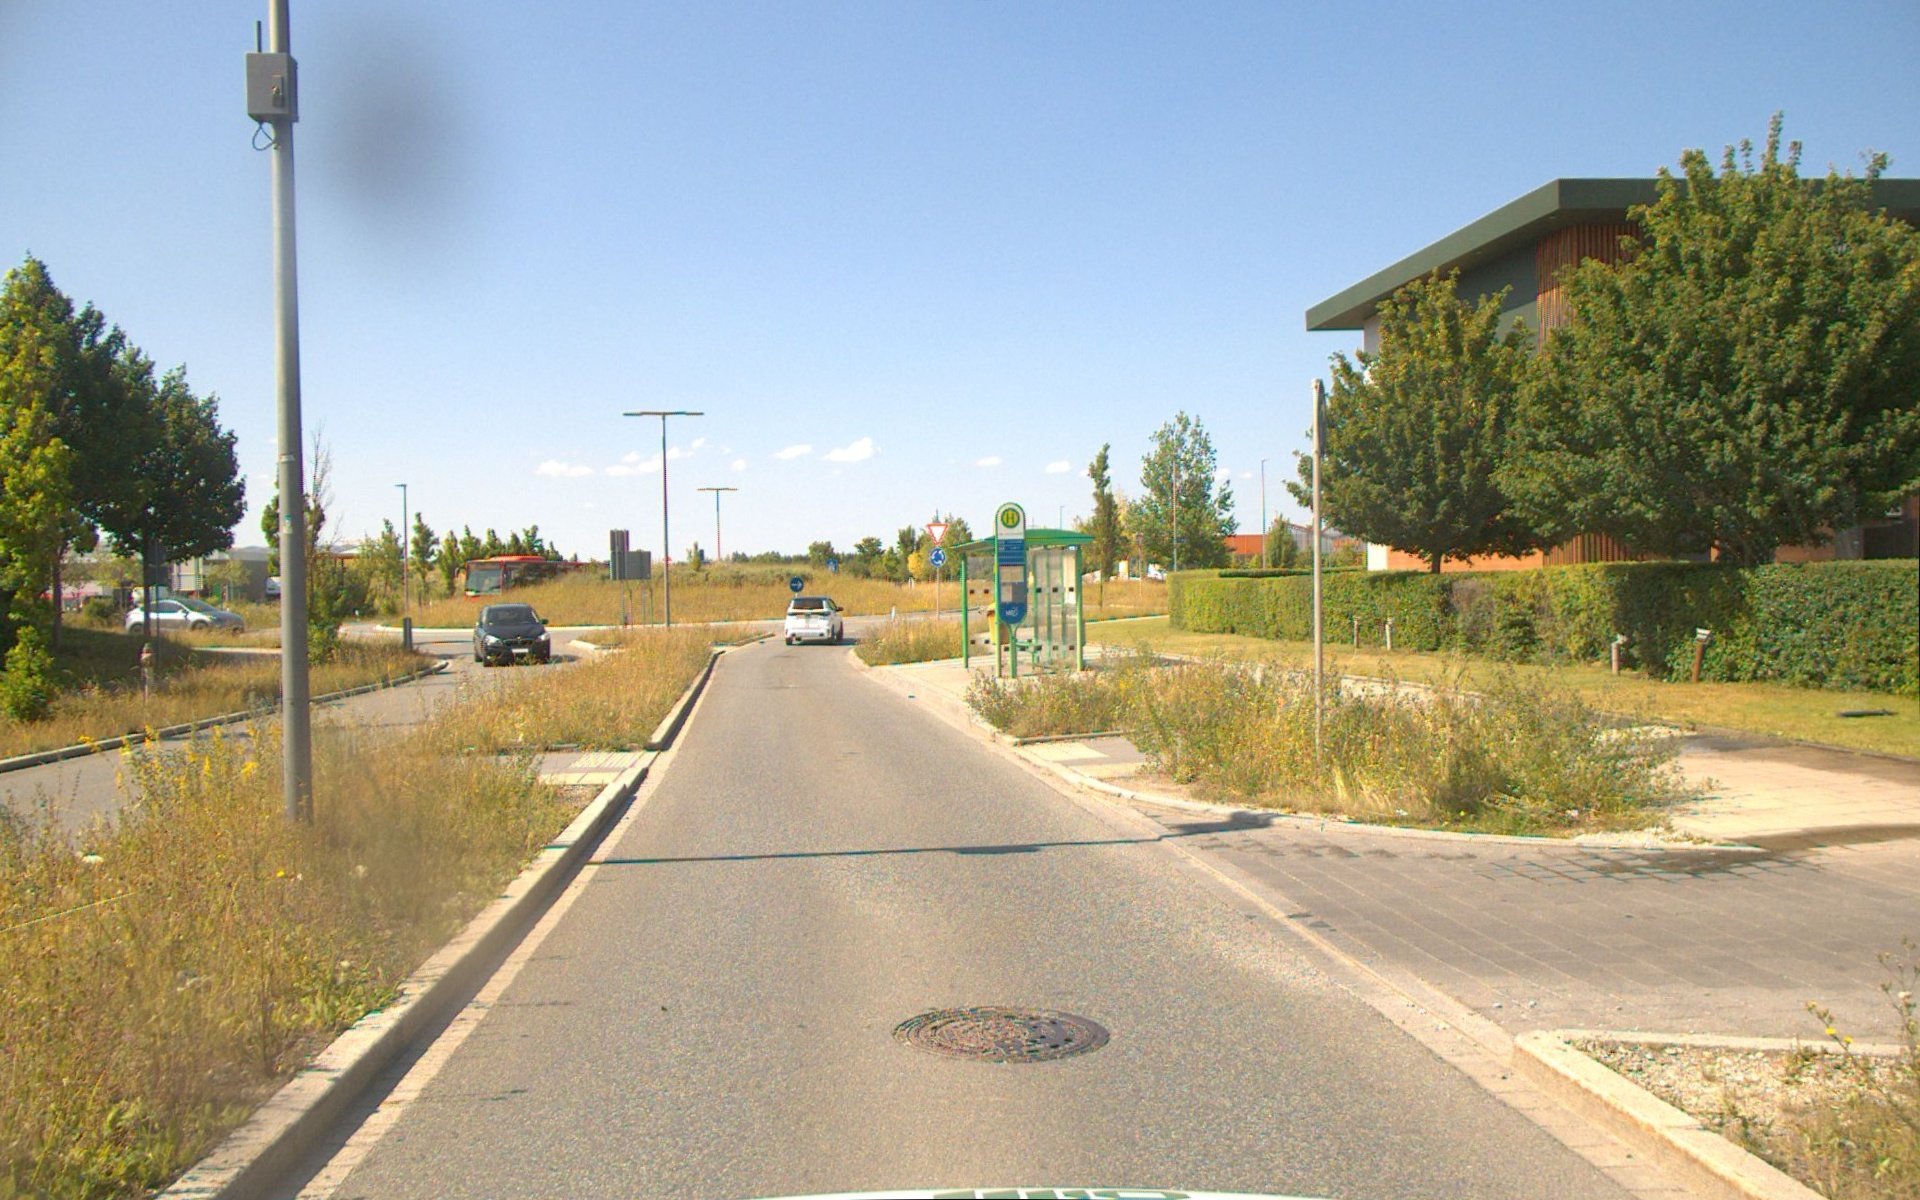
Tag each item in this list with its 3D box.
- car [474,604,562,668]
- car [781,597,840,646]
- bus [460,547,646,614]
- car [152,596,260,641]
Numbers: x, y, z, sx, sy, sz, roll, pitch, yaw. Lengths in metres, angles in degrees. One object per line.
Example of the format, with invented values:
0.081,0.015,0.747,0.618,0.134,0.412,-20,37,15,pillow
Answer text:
-12.138,0.951,45.682,1.726,1.570,4.233,-3,0,-8,car
-4.679,0.642,52.259,1.584,1.459,3.791,-1,0,-2,car
-22.207,-1.185,91.341,2.732,3.132,12.196,-1,2,26,bus
-29.848,0.695,65.444,4.534,1.654,1.956,0,2,37,car
